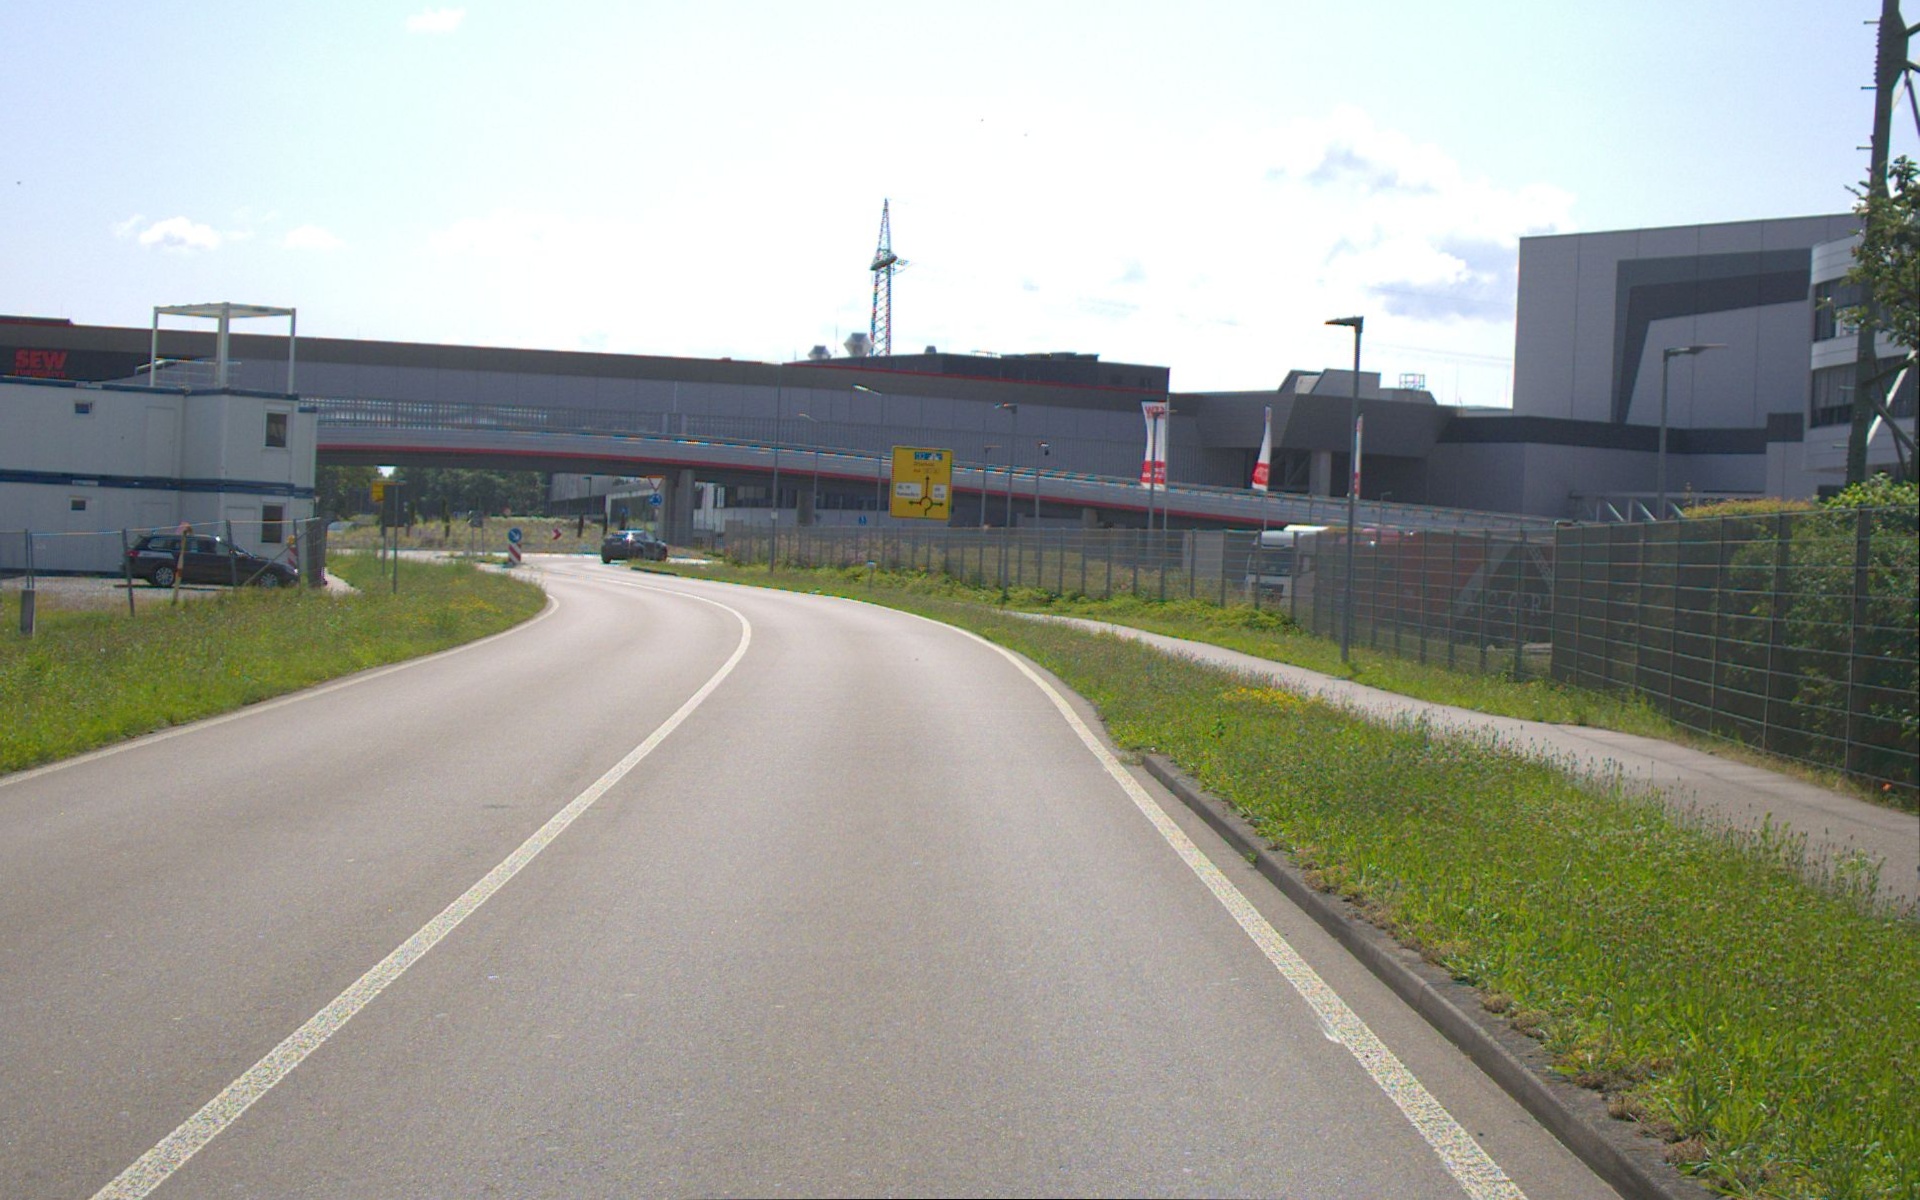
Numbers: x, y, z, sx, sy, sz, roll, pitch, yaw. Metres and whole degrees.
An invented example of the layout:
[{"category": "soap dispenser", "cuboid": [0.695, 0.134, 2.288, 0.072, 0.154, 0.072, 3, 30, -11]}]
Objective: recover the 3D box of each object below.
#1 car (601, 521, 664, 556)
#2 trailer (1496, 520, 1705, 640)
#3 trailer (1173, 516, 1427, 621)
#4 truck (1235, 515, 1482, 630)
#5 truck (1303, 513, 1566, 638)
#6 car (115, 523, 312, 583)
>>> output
[{"category": "car", "cuboid": [-14.913, -2.788, 156.625, 1.994, 1.539, 3.999, 1, 1, 7]}, {"category": "trailer", "cuboid": [24.003, -0.714, 128.450, 8.691, 4.281, 3.027, 1, 1, -43]}, {"category": "trailer", "cuboid": [15.306, -1.327, 153.383, 14.025, 4.423, 2.765, 1, 1, -44]}, {"category": "truck", "cuboid": [15.246, -0.996, 130.728, 10.943, 4.158, 2.821, 1, 1, -43]}, {"category": "truck", "cuboid": [16.902, -0.824, 121.719, 10.944, 4.242, 3.027, 1, 1, -44]}, {"category": "car", "cuboid": [-20.365, -1.284, 93.747, 4.967, 1.412, 2.001, 2, 1, -20]}]
